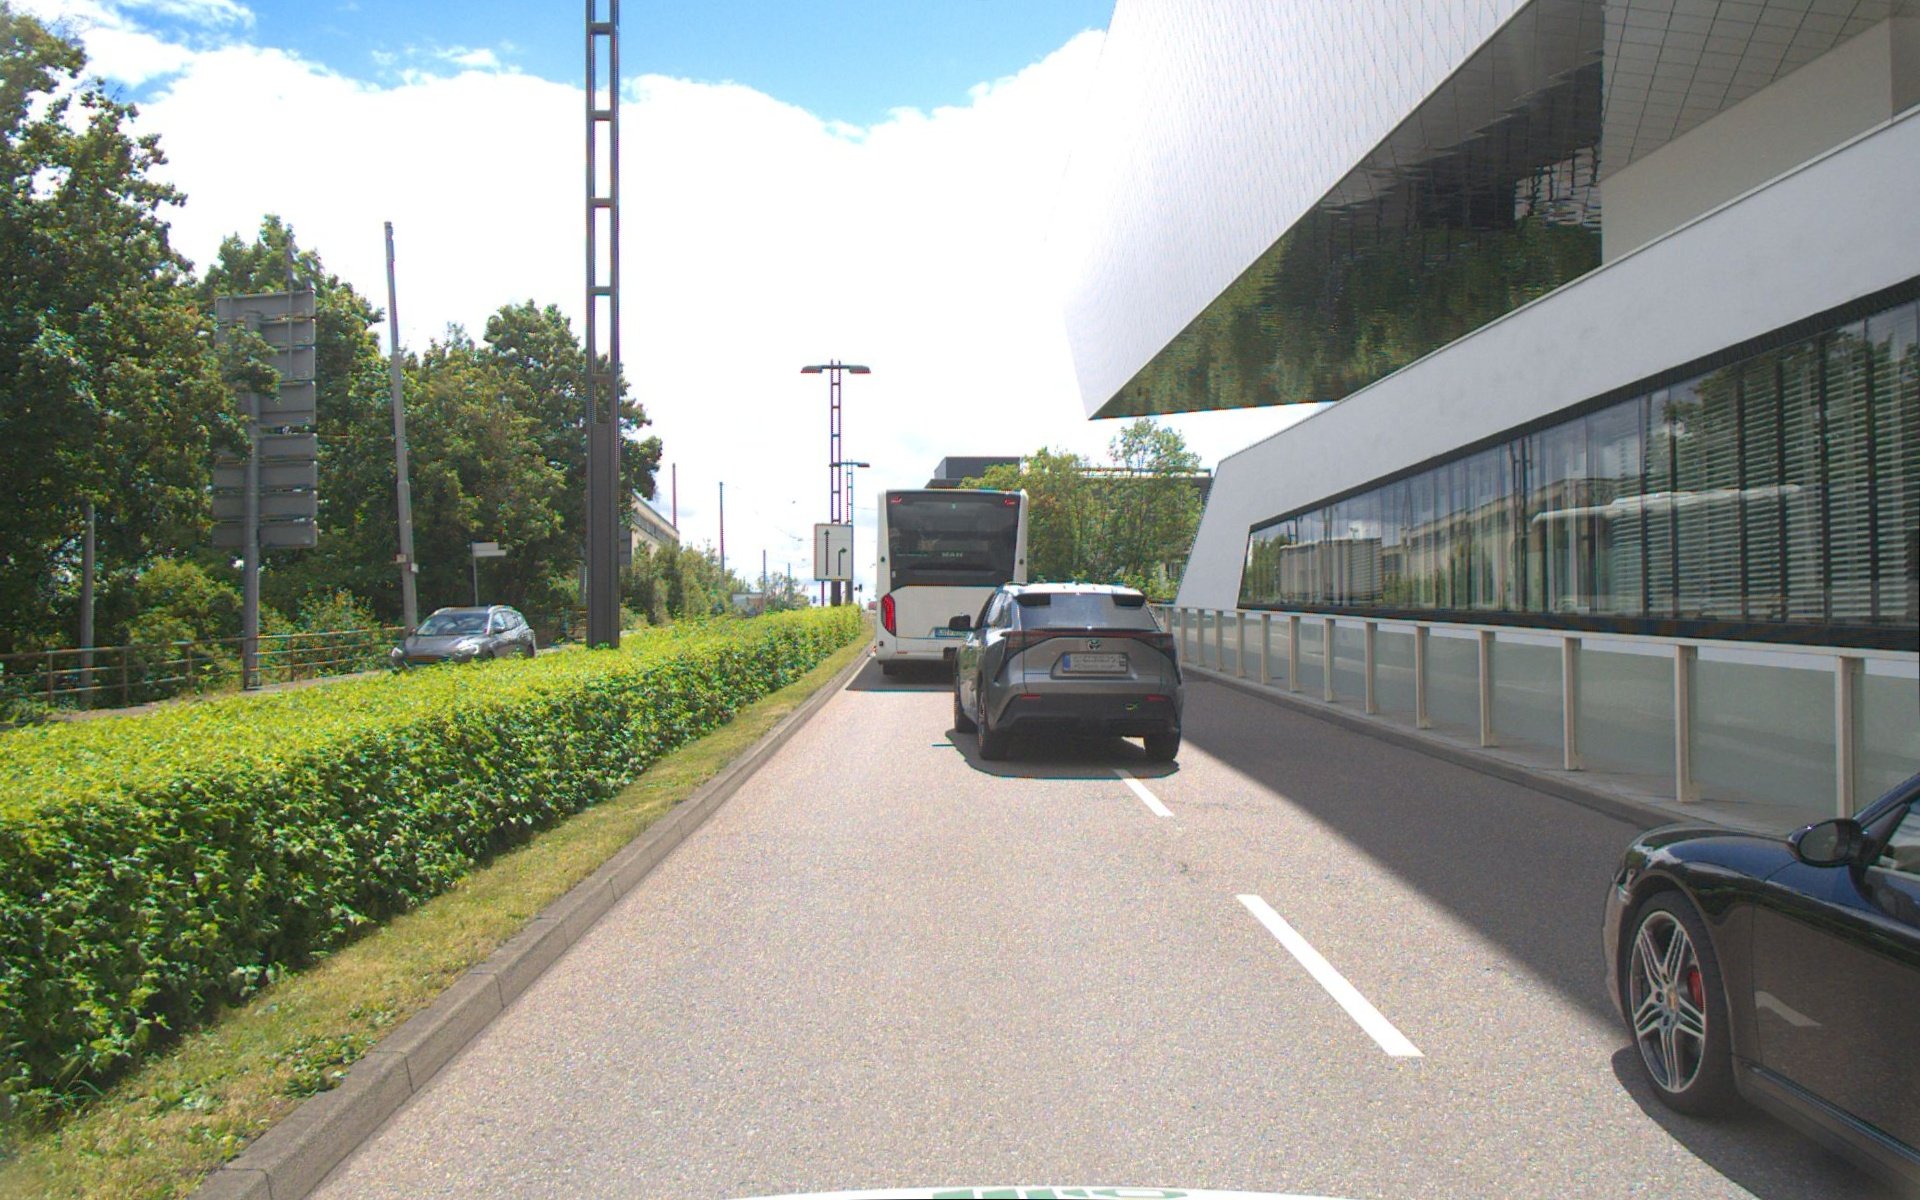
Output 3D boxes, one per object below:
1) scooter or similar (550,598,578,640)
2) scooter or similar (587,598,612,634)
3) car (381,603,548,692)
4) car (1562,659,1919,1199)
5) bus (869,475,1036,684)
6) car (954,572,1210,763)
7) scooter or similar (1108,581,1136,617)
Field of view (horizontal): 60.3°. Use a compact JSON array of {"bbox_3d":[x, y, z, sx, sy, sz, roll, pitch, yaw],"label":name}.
[{"bbox_3d":[-12.651,0.597,52.893,0.481,1.327,1.643,1,0,1],"label":"scooter or similar"},{"bbox_3d":[-12.729,0.550,58.455,0.481,1.237,1.643,-1,0,1],"label":"scooter or similar"},{"bbox_3d":[-9.570,0.874,32.327,1.802,1.534,4.561,-1,0,1],"label":"car"},{"bbox_3d":[2.952,0.851,3.673,1.685,1.297,4.087,0,0,-1],"label":"car"},{"bbox_3d":[-0.169,-0.426,32.570,2.634,3.312,12.056,1,1,-1],"label":"bus"},{"bbox_3d":[1.045,0.589,16.290,1.843,1.622,4.225,1,0,-5],"label":"car"},{"bbox_3d":[5.766,-0.041,58.970,0.640,1.235,1.856,-1,0,-4],"label":"scooter or similar"}]
